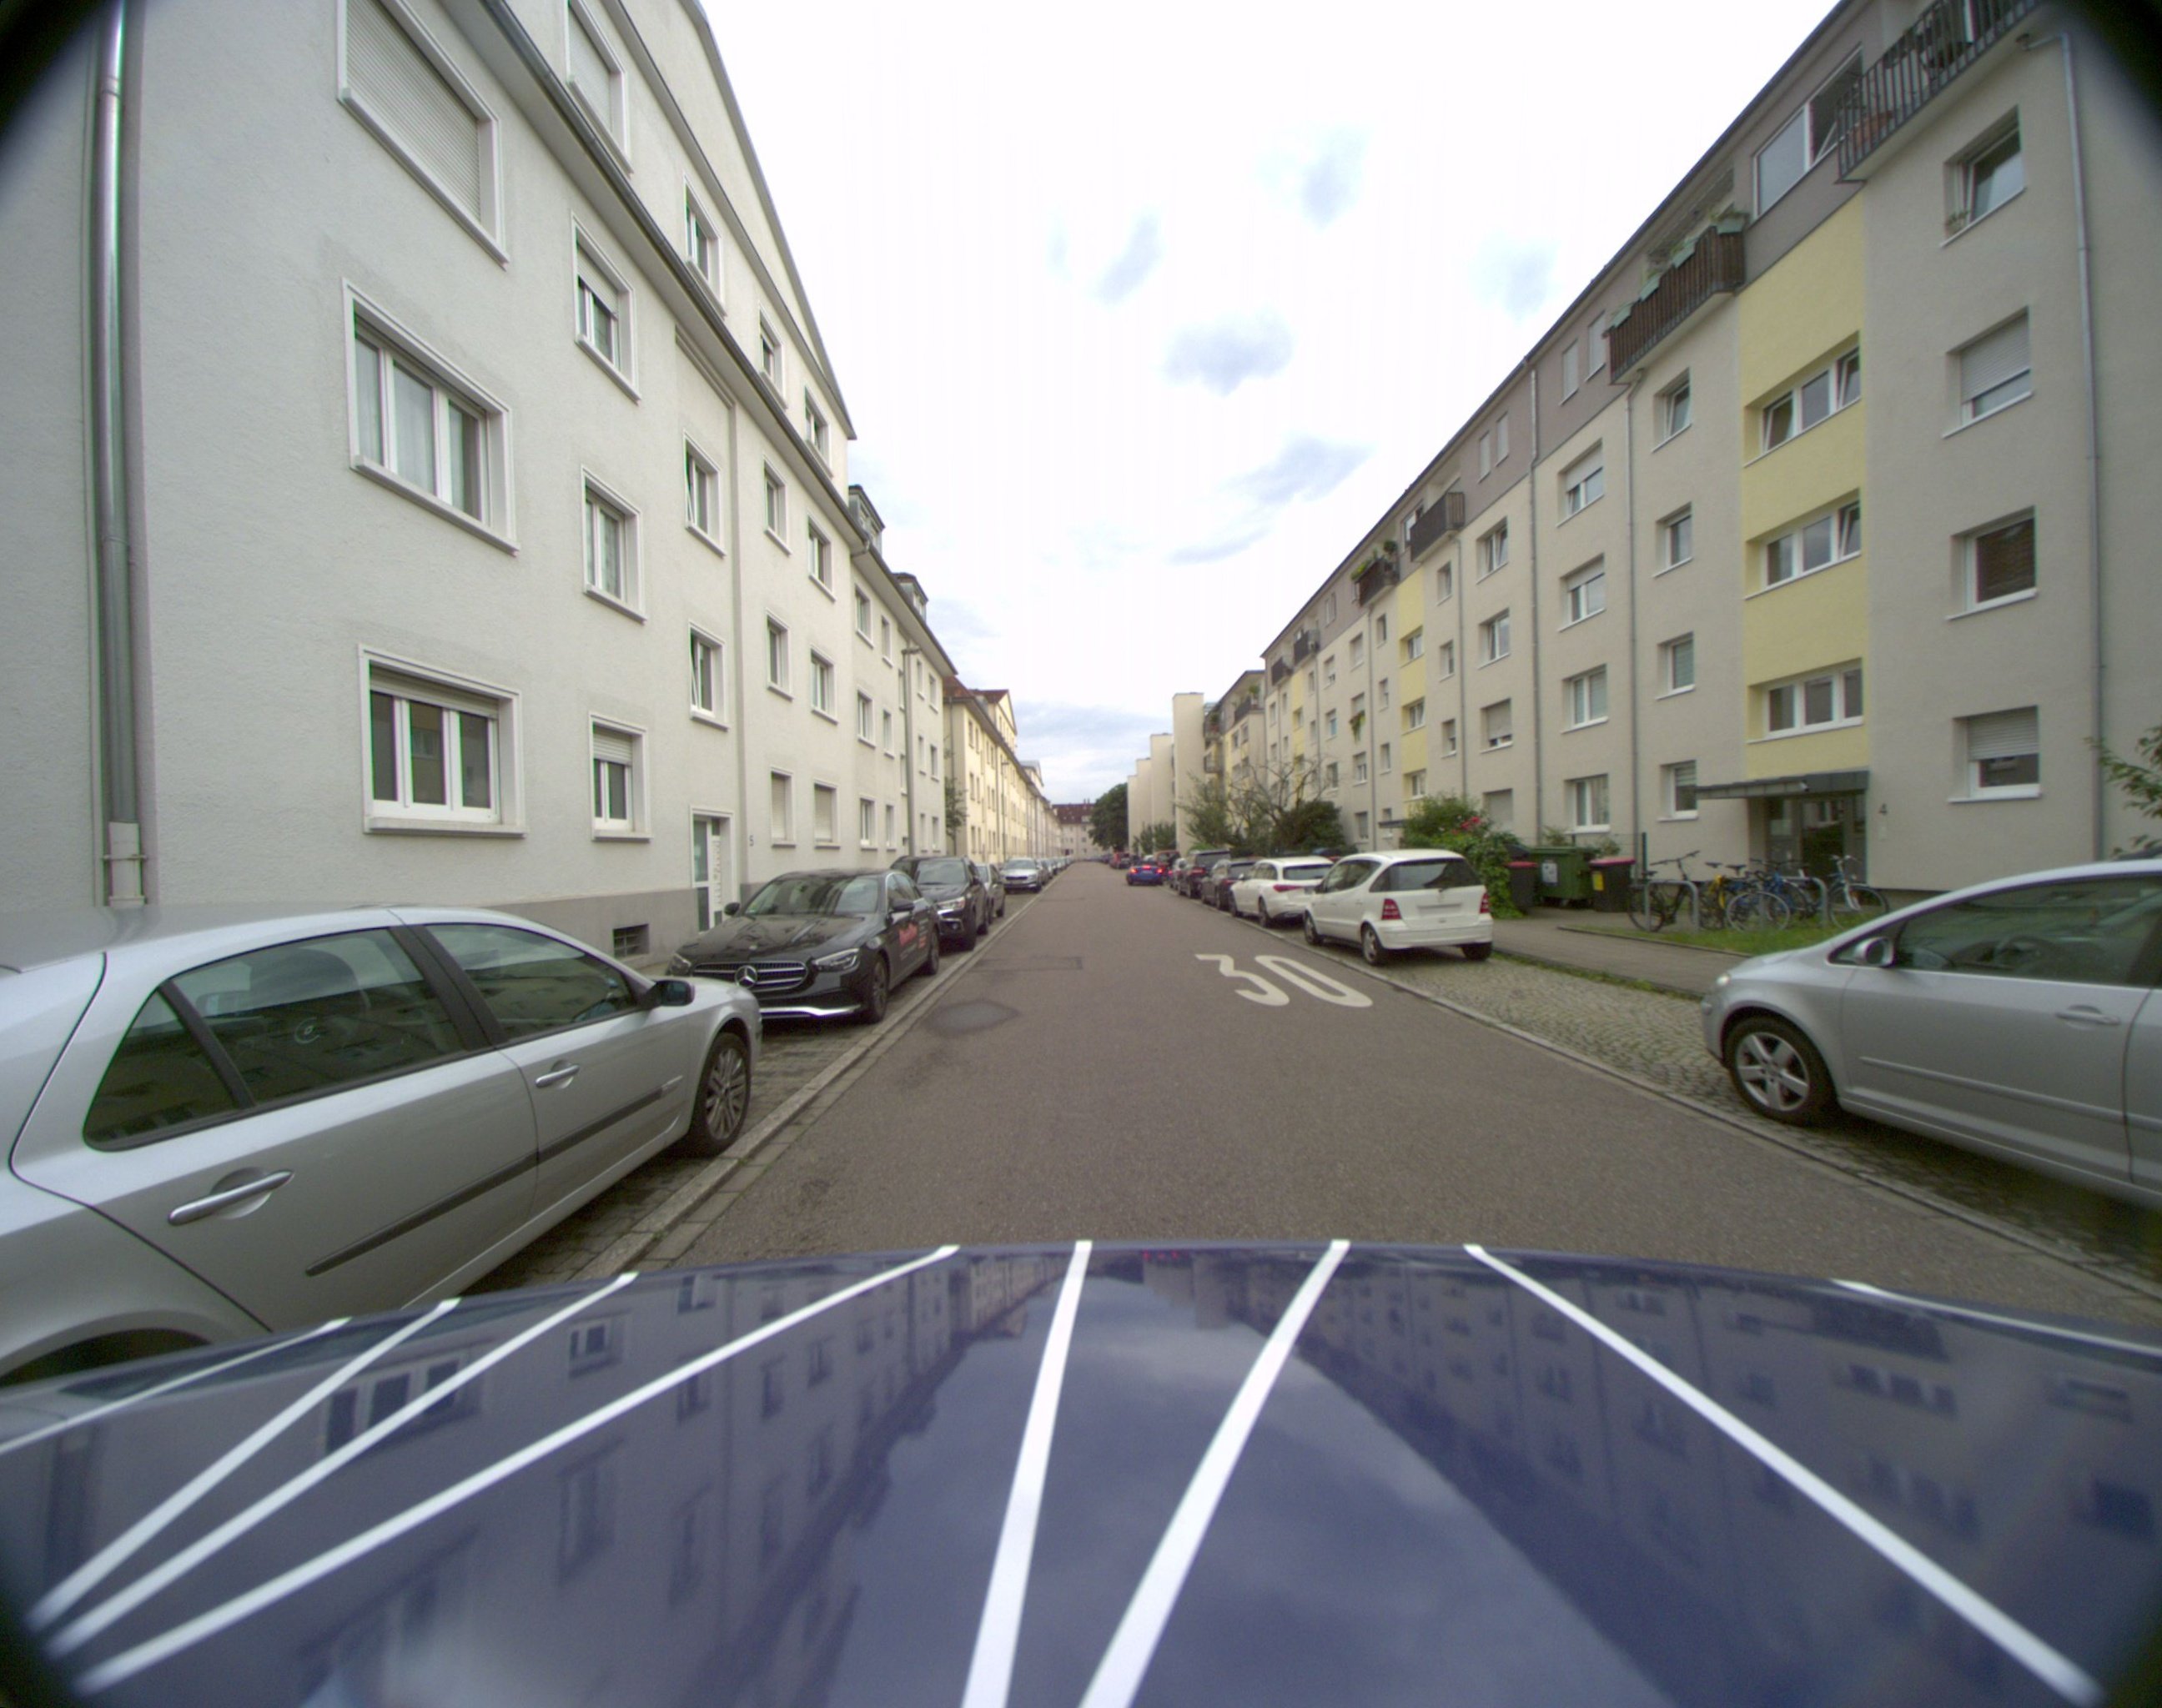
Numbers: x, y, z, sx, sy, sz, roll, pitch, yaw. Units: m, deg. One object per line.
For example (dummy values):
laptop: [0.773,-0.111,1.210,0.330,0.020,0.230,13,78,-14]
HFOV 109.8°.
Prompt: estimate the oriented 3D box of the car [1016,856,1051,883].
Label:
car: [-2.652,0.836,43.504,1.737,1.418,4.217,-1,0,0]

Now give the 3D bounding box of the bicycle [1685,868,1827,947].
bicycle: [9.673,0.729,10.982,0.479,1.018,1.754,-1,0,0]

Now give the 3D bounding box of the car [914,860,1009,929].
car: [-2.841,0.914,18.811,1.737,1.478,3.756,-1,0,0]

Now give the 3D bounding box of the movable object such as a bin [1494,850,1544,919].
movable object such as a bin: [9.046,0.612,15.710,0.659,1.360,0.587,-2,2,-4]

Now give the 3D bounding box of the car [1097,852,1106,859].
car: [4.805,0.343,180.627,1.745,1.534,3.636,-2,0,-6]

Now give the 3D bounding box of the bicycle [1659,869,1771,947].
bicycle: [9.176,0.747,11.067,0.357,1.018,1.497,-1,0,0]

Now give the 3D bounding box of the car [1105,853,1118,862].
car: [5.223,0.600,131.576,1.745,1.534,3.636,-2,0,-6]

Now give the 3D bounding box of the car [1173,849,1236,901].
car: [4.583,0.758,28.700,1.575,1.769,4.452,-1,0,-1]

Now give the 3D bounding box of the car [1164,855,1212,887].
car: [4.932,0.779,35.510,1.575,1.389,3.541,-1,0,-2]

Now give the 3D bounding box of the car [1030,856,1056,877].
car: [-2.679,0.884,54.747,1.737,1.402,4.217,-1,0,-1]

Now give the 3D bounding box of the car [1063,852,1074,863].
car: [-2.024,0.509,120.455,1.737,1.670,3.591,-1,0,-1]

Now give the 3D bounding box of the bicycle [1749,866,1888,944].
bicycle: [10.559,0.696,10.954,0.421,1.018,1.559,-1,0,-3]

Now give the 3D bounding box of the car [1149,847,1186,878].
car: [5.194,0.511,46.062,1.707,1.795,3.541,-1,0,-2]

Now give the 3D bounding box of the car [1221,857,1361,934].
car: [4.621,0.851,17.488,1.723,1.501,4.687,-1,0,-2]

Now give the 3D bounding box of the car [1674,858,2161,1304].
car: [4.717,0.828,2.962,1.658,1.541,3.915,-3,0,-1]

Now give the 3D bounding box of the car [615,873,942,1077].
car: [-2.733,0.989,8.053,1.786,1.454,4.322,-1,0,-1]

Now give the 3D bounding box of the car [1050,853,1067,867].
car: [-2.373,0.628,81.635,1.737,1.443,4.217,-1,0,-1]

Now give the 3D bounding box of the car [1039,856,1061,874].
car: [-2.503,0.888,62.457,1.737,1.363,4.217,-1,0,-1]

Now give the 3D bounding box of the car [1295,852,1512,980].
car: [4.726,0.809,11.751,1.689,1.629,3.727,-1,0,-1]

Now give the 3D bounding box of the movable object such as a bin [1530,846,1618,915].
movable object such as a bin: [10.502,0.547,16.219,1.059,1.367,1.188,-2,2,-5]

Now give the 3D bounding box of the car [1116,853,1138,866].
car: [5.158,0.650,86.220,2.013,1.436,4.197,-1,0,-2]

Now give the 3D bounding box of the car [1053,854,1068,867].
car: [-2.483,0.798,91.423,1.737,1.443,4.217,-1,0,-1]

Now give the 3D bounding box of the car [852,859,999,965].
car: [-2.618,0.902,13.750,1.853,1.589,4.159,-1,0,-1]

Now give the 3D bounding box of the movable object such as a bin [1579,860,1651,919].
movable object such as a bin: [10.640,0.694,15.154,0.871,1.103,0.787,-2,2,-4]

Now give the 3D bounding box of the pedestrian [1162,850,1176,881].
pedestrian: [4.773,0.638,41.189,0.603,1.657,0.622,-1,0,-2]

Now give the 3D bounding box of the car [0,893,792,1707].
car: [-2.705,0.986,2.664,1.737,1.454,4.430,-1,0,-1]

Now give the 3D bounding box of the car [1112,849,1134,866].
car: [5.124,0.411,92.455,2.188,2.019,4.422,-1,0,-2]

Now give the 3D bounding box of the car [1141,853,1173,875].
car: [5.186,0.664,52.251,1.707,1.436,3.541,-1,0,-2]

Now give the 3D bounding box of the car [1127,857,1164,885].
car: [3.417,0.883,40.725,1.679,1.307,3.907,-1,1,1]

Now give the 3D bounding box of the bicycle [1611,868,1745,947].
bicycle: [8.697,0.742,11.172,0.489,1.018,1.878,-1,0,0]

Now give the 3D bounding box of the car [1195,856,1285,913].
car: [4.623,0.826,22.670,1.729,1.445,4.482,-1,0,0]

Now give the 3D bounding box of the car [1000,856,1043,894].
car: [-2.664,0.912,34.591,1.737,1.538,3.677,-1,0,-1]
